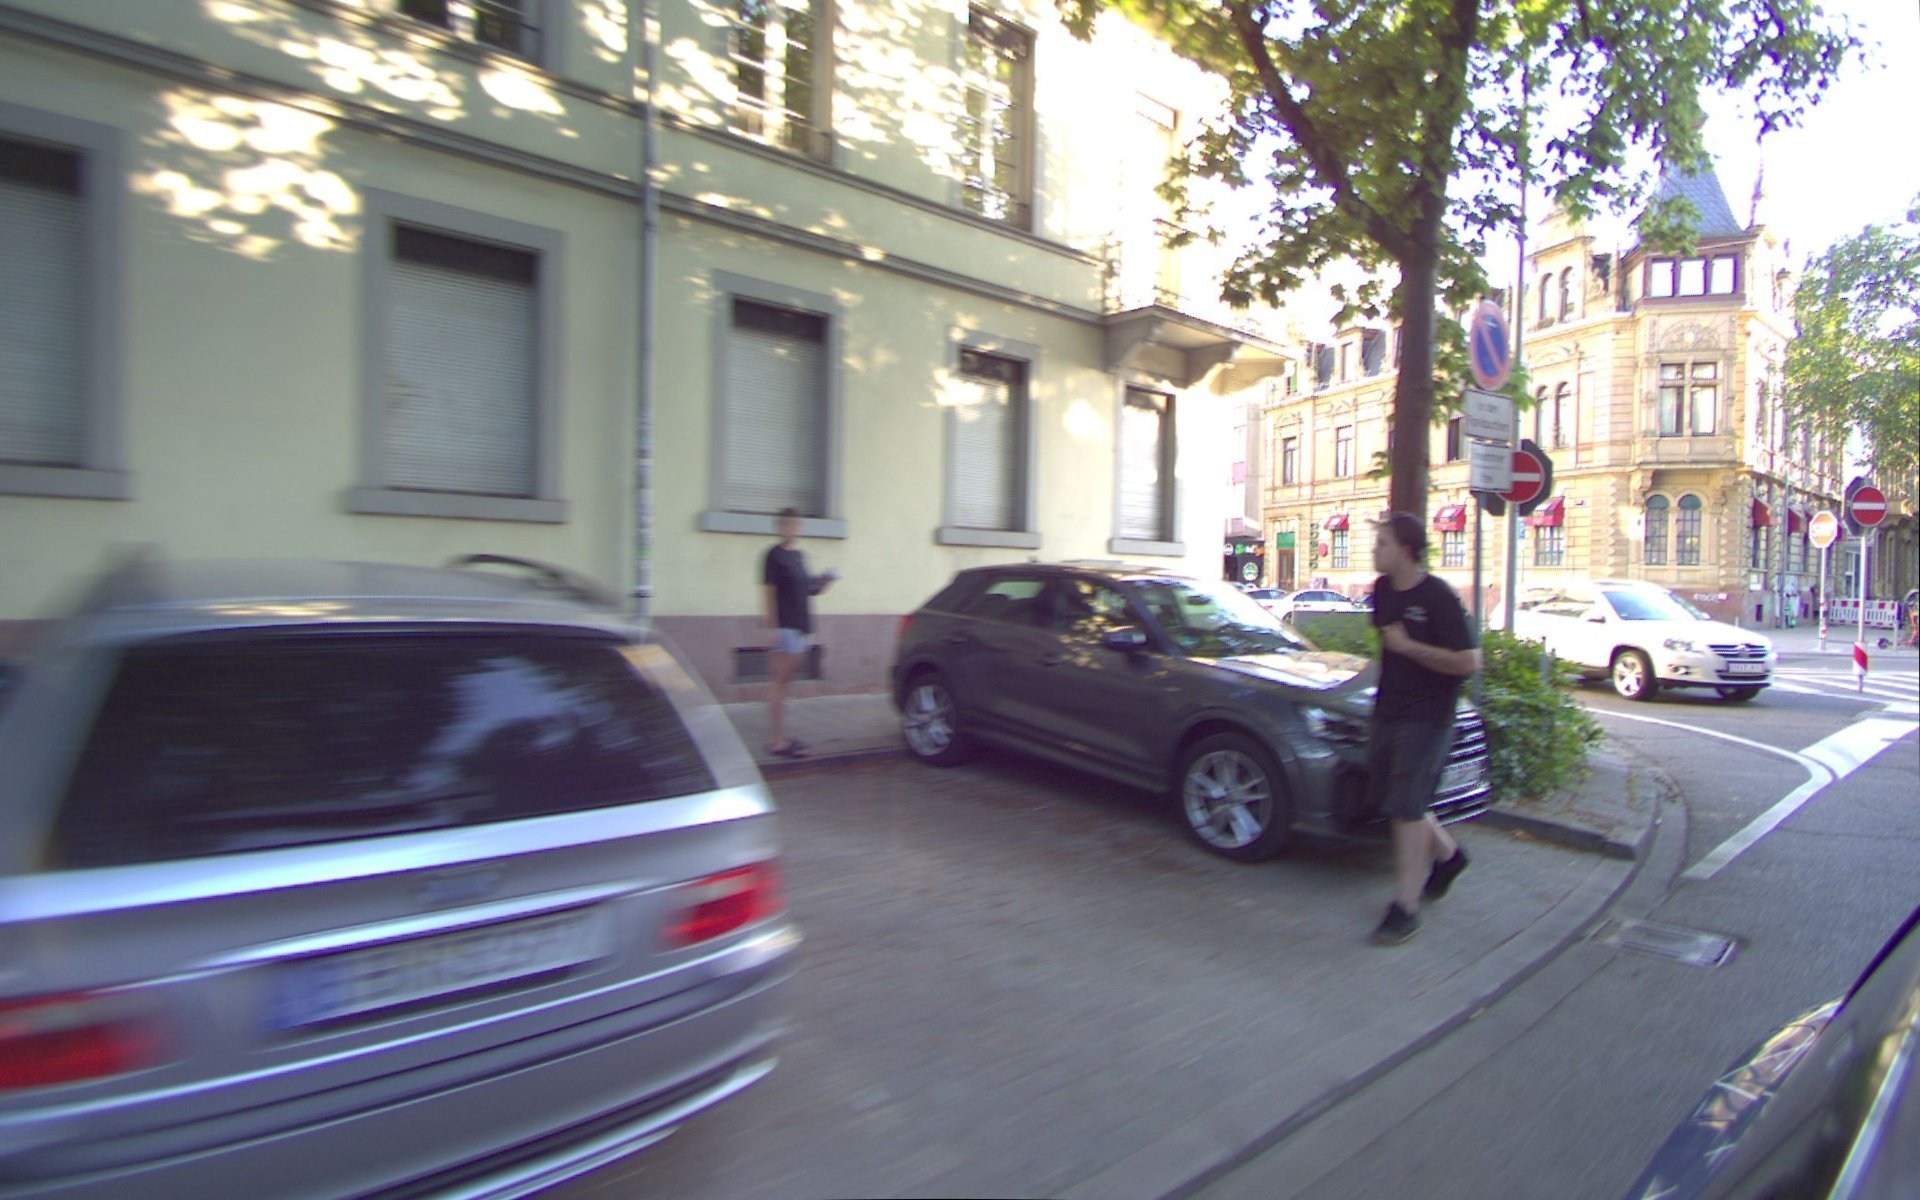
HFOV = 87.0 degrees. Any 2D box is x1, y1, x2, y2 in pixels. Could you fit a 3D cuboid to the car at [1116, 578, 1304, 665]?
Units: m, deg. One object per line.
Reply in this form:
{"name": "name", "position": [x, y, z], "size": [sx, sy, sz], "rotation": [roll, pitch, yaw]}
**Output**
{"name": "car", "position": [4.911, 0.345, 20.579], "size": [1.828, 1.562, 4.433], "rotation": [0, 1, -14]}

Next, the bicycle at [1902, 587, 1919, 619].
{"name": "bicycle", "position": [37.034, 0.107, 39.297], "size": [1.694, 1.250, 0.386], "rotation": [0, 1, -39]}

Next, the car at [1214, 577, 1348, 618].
{"name": "car", "position": [12.719, -0.101, 40.403], "size": [4.897, 1.476, 1.869], "rotation": [1, 0, 11]}

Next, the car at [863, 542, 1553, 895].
{"name": "car", "position": [1.315, 0.456, 6.721], "size": [1.818, 1.509, 4.117], "rotation": [1, 3, -41]}

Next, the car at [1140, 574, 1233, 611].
{"name": "car", "position": [10.369, -0.376, 46.564], "size": [4.072, 1.559, 1.775], "rotation": [1, 1, 11]}

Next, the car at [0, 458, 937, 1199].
{"name": "car", "position": [-2.098, 0.463, 3.338], "size": [1.819, 1.498, 4.203], "rotation": [0, 3, -40]}

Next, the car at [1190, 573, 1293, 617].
{"name": "car", "position": [12.020, -0.223, 43.450], "size": [4.072, 1.747, 1.775], "rotation": [1, 1, 11]}

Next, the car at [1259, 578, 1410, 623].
{"name": "car", "position": [13.641, -0.007, 37.179], "size": [4.915, 1.476, 1.980], "rotation": [2, 1, 13]}

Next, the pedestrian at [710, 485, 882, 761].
{"name": "pedestrian", "position": [-1.142, 0.139, 6.965], "size": [0.768, 1.728, 0.945], "rotation": [2, 0, -38]}

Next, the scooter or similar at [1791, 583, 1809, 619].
{"name": "scooter or similar", "position": [29.147, 0.038, 35.119], "size": [1.073, 1.209, 0.251], "rotation": [1, 0, -40]}

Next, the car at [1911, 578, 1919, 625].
{"name": "car", "position": [41.592, 0.137, 40.829], "size": [1.917, 1.938, 4.547], "rotation": [0, 2, -42]}

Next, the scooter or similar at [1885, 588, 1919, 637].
{"name": "scooter or similar", "position": [24.666, 0.321, 25.996], "size": [1.252, 1.259, 0.505], "rotation": [1, 0, 7]}

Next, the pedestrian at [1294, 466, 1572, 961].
{"name": "pedestrian", "position": [2.037, 0.413, 4.389], "size": [0.738, 1.891, 0.796], "rotation": [-1, 3, -40]}

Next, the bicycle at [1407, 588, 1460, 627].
{"name": "bicycle", "position": [14.590, 0.211, 31.228], "size": [0.813, 1.149, 1.833], "rotation": [-1, 2, 2]}

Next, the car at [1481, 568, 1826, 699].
{"name": "car", "position": [10.046, 0.383, 15.146], "size": [1.856, 1.676, 4.211], "rotation": [0, 1, -9]}

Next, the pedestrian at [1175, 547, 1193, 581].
{"name": "pedestrian", "position": [11.891, -1.895, 53.672], "size": [0.621, 1.785, 0.737], "rotation": [0, 1, -18]}

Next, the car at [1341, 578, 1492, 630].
{"name": "car", "position": [15.226, 0.120, 33.937], "size": [4.207, 1.430, 1.709], "rotation": [-3, 1, 8]}
